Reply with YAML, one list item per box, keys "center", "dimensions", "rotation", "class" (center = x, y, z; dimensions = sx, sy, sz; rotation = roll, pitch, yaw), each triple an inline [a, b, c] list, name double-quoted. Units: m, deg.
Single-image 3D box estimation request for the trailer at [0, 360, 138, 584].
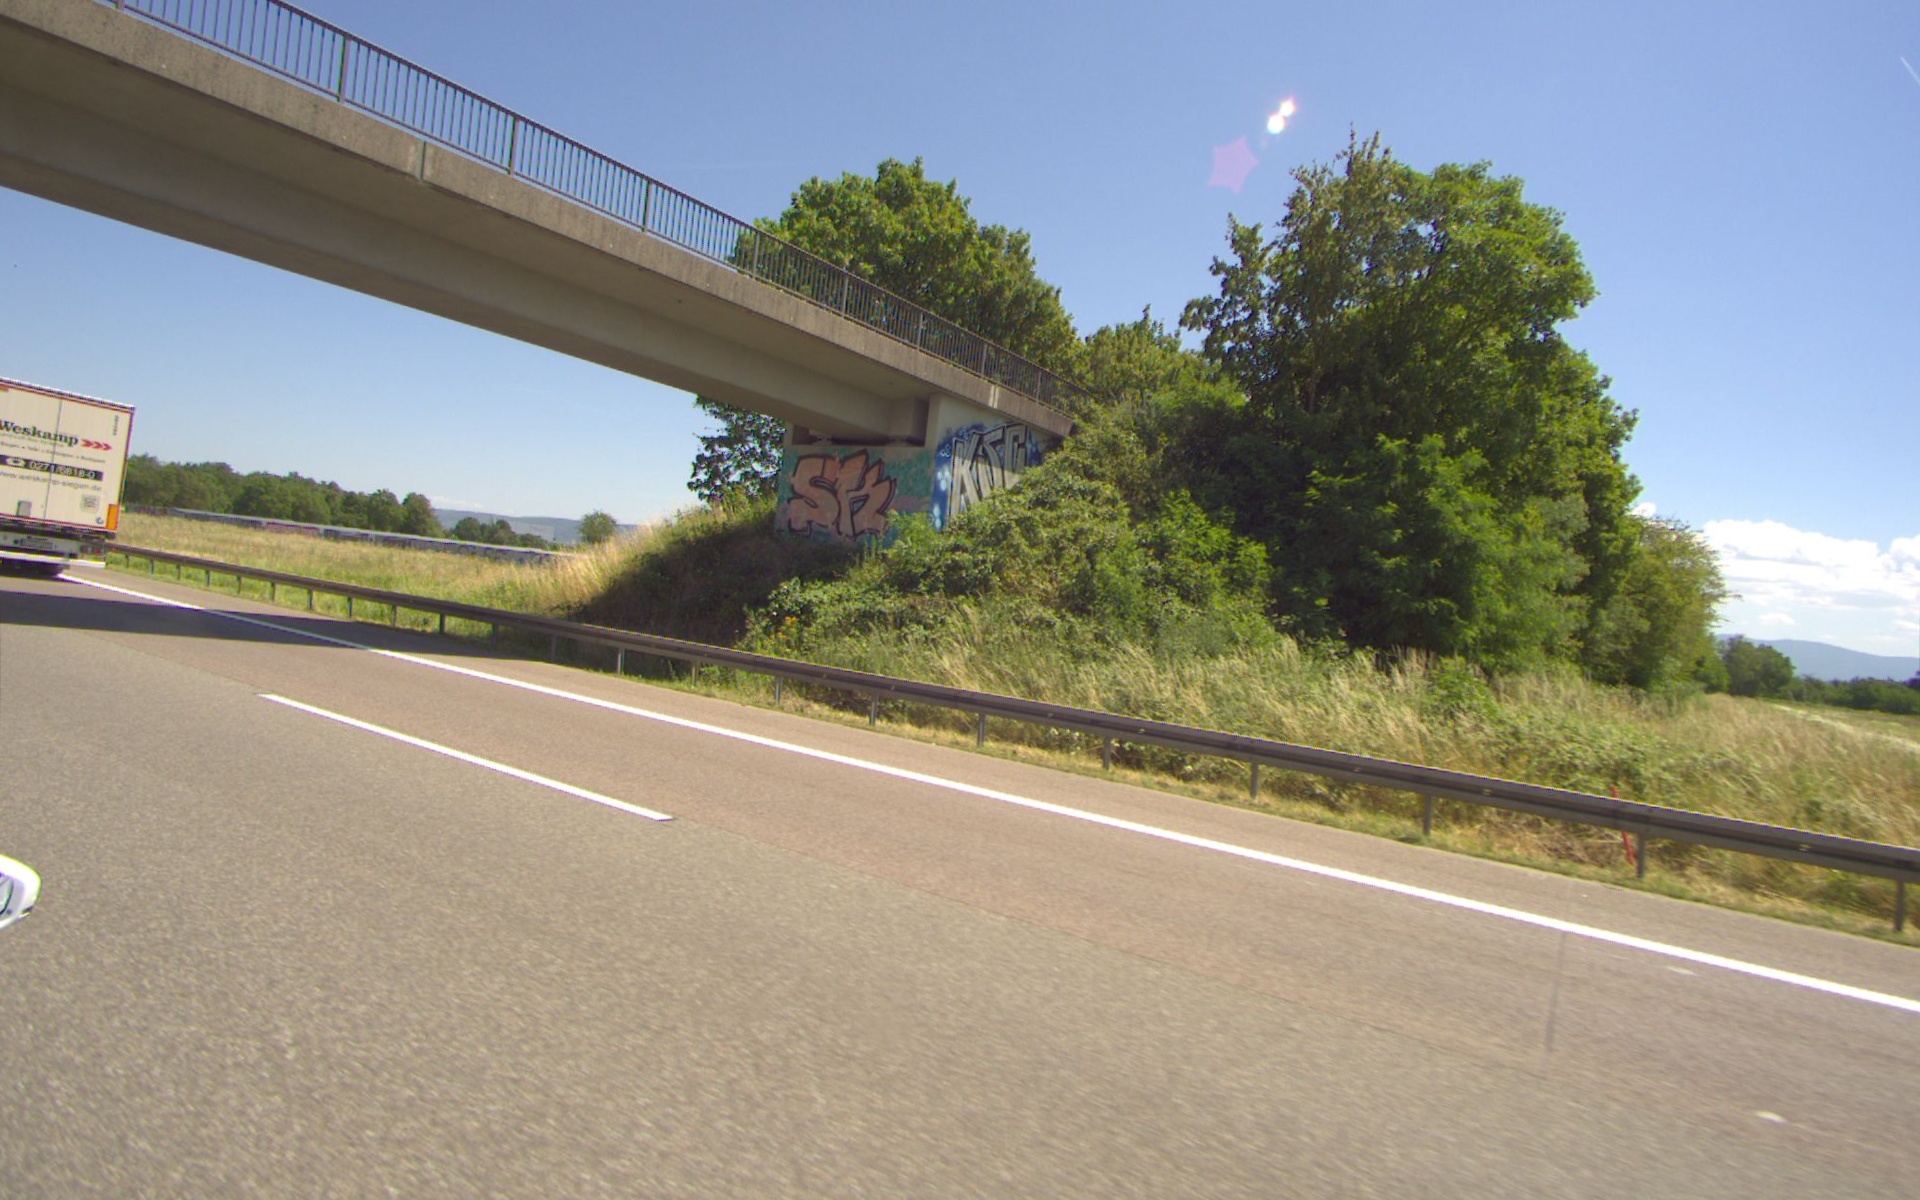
- center: [-24.788, -3.205, 24.775]
  dimensions: [13.417, 4.301, 2.600]
  rotation: [6, -2, 32]
  class: "trailer"
